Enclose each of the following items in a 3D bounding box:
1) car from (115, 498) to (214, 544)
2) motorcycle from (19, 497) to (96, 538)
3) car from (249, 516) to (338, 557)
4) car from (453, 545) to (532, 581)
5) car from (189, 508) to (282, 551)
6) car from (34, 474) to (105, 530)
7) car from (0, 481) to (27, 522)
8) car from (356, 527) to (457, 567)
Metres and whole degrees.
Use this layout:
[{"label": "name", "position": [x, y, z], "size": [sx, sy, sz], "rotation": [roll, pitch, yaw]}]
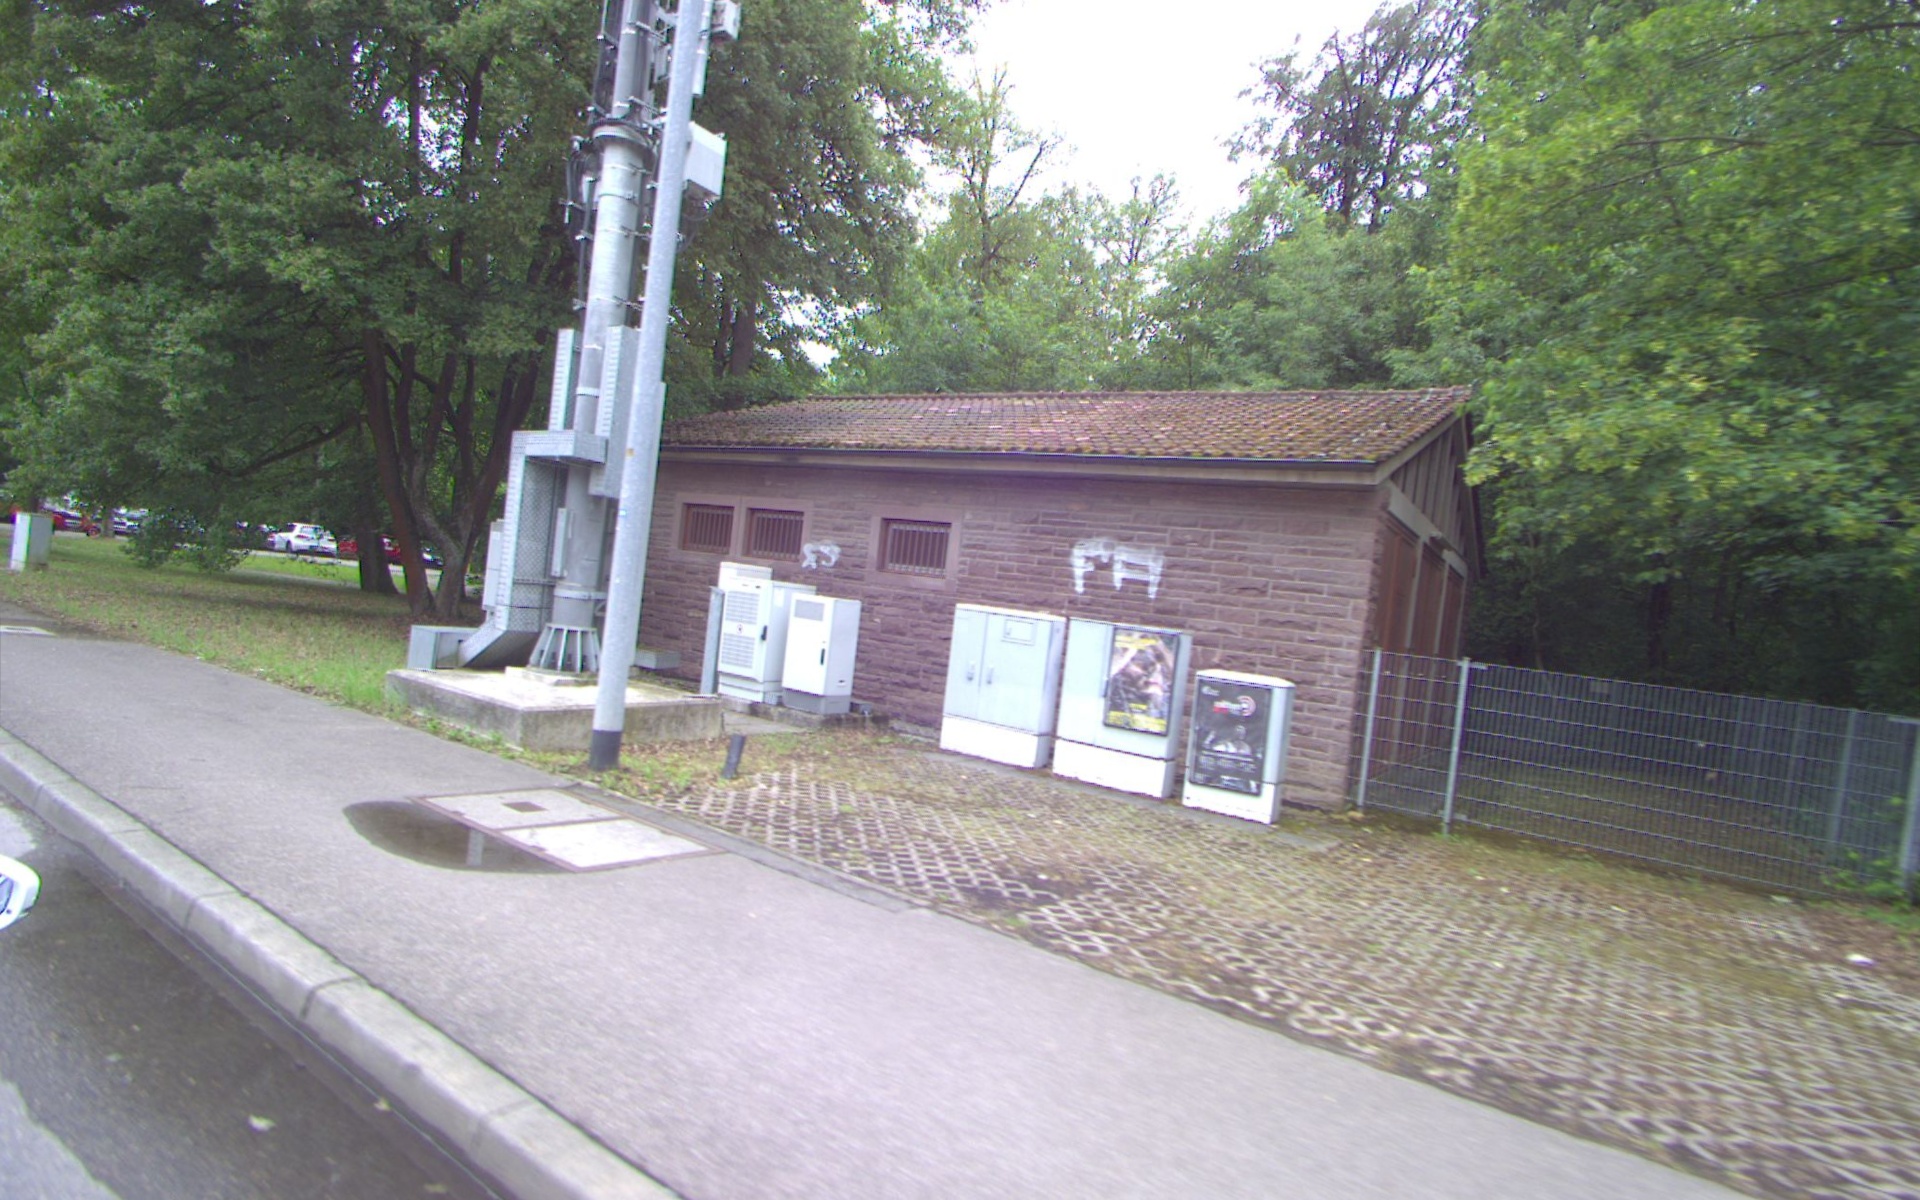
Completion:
[{"label": "car", "position": [-31.708, -3.143, 40.081], "size": [3.930, 1.342, 1.559], "rotation": [7, 1, 27]}, {"label": "motorcycle", "position": [-30.141, -2.753, 33.619], "size": [0.606, 1.070, 1.824], "rotation": [8, 1, 42]}, {"label": "car", "position": [-29.006, -2.772, 43.762], "size": [3.759, 1.342, 1.559], "rotation": [7, 1, 27]}, {"label": "car", "position": [-23.538, -1.862, 50.673], "size": [3.759, 1.342, 1.559], "rotation": [7, 1, 27]}, {"label": "car", "position": [-30.268, -2.936, 41.993], "size": [3.759, 1.342, 1.559], "rotation": [7, 1, 27]}, {"label": "car", "position": [-33.806, -3.715, 38.192], "size": [1.827, 1.784, 3.952], "rotation": [6, 1, -42]}, {"label": "car", "position": [-35.011, -3.656, 36.276], "size": [1.827, 1.342, 3.952], "rotation": [6, 1, -42]}, {"label": "car", "position": [-25.408, -2.394, 46.293], "size": [1.534, 1.342, 3.821], "rotation": [7, 0, 27]}]
